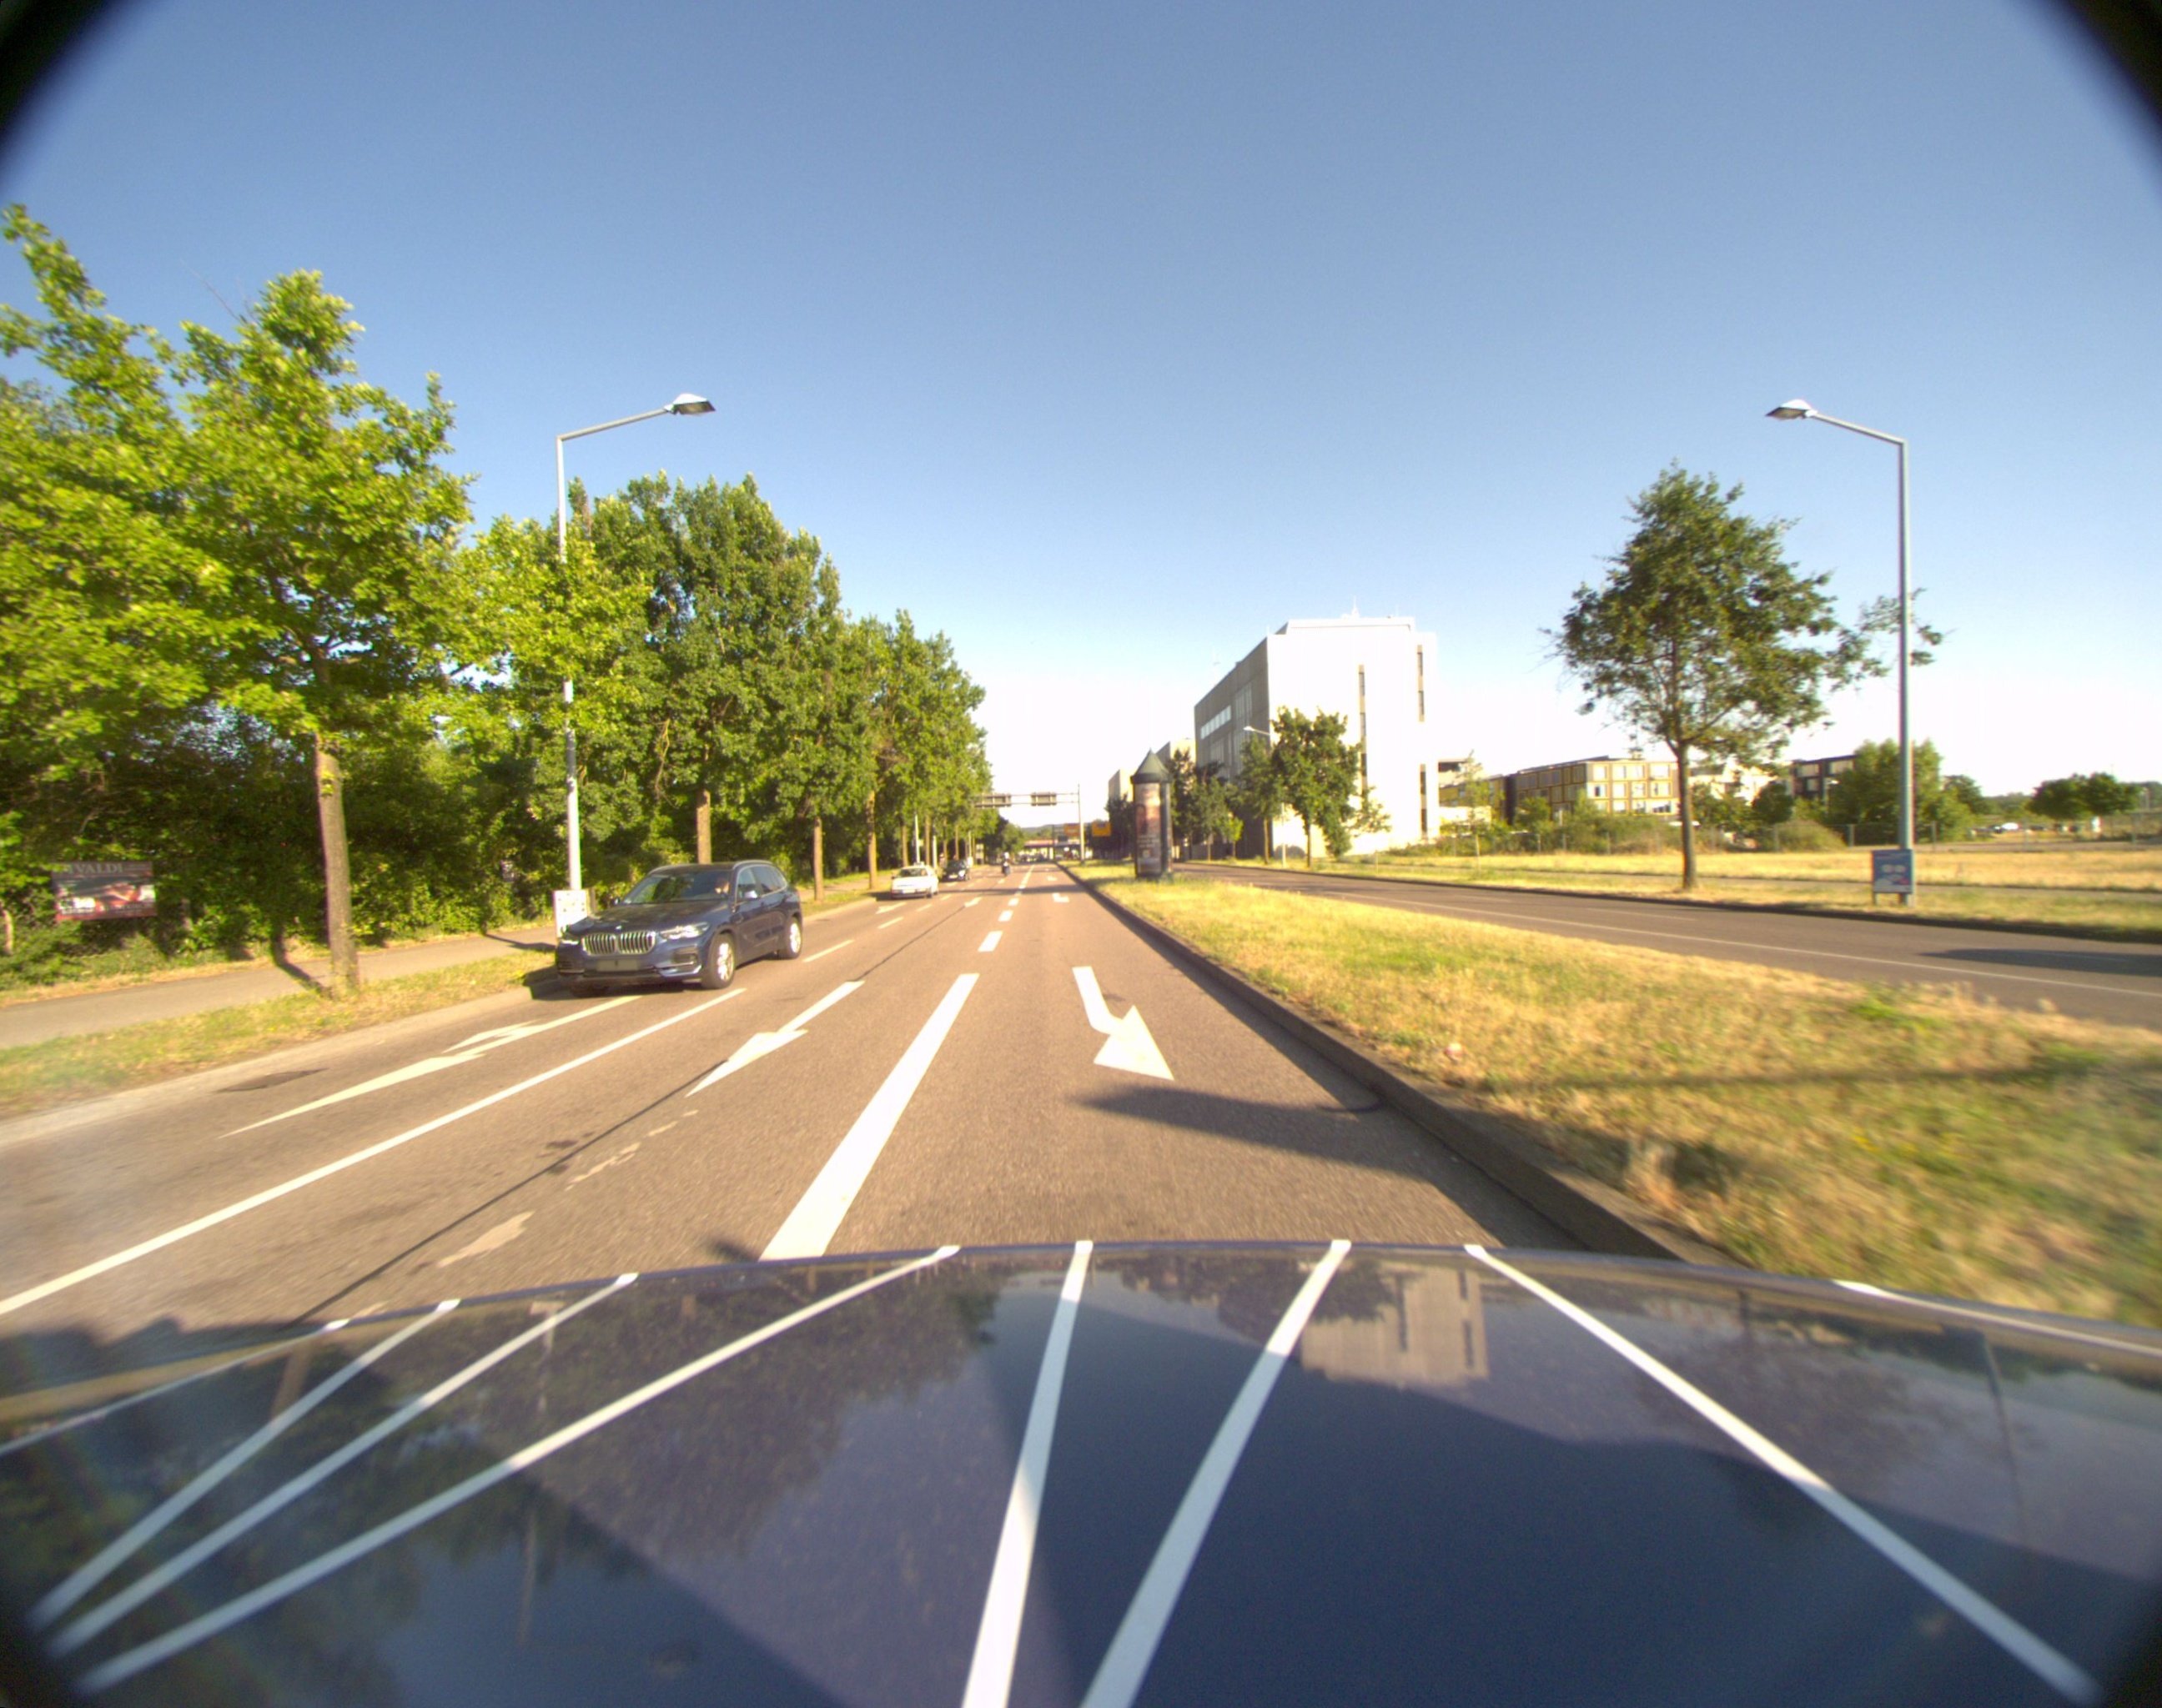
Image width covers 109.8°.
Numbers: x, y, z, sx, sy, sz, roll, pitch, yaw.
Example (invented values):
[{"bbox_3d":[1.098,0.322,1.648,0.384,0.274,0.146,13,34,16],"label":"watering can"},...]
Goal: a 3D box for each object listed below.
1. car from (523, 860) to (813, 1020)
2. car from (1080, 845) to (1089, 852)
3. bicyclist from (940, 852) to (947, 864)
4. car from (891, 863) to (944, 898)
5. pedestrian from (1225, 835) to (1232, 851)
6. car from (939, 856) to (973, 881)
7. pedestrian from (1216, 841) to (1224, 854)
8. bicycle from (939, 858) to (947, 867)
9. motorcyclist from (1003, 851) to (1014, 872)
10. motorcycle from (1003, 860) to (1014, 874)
[{"bbox_3d":[-5.852,1.067,11.625,1.960,1.717,4.697,-3,1,-3],"label":"car"},{"bbox_3d":[0.719,-1.139,156.698,1.567,1.566,3.410,-2,1,-5],"label":"car"},{"bbox_3d":[-16.732,0.496,92.341,0.614,1.493,0.848,-2,1,-1],"label":"bicyclist"},{"bbox_3d":[-7.194,1.135,33.717,1.615,1.390,4.037,-3,0,-3],"label":"car"},{"bbox_3d":[17.991,-1.330,92.487,0.634,1.831,0.716,-2,1,-2],"label":"pedestrian"},{"bbox_3d":[-8.395,0.981,51.401,1.726,1.490,4.213,-4,0,-4],"label":"car"},{"bbox_3d":[17.062,-0.833,93.062,0.778,1.592,0.909,-2,1,-2],"label":"pedestrian"},{"bbox_3d":[-16.711,1.047,92.172,0.618,0.968,1.821,-2,0,-1],"label":"bicycle"},{"bbox_3d":[-5.259,0.527,55.277,0.735,1.503,0.918,-2,1,-4],"label":"motorcyclist"},{"bbox_3d":[-5.233,0.920,55.034,0.749,0.977,2.139,-2,1,-4],"label":"motorcycle"}]
